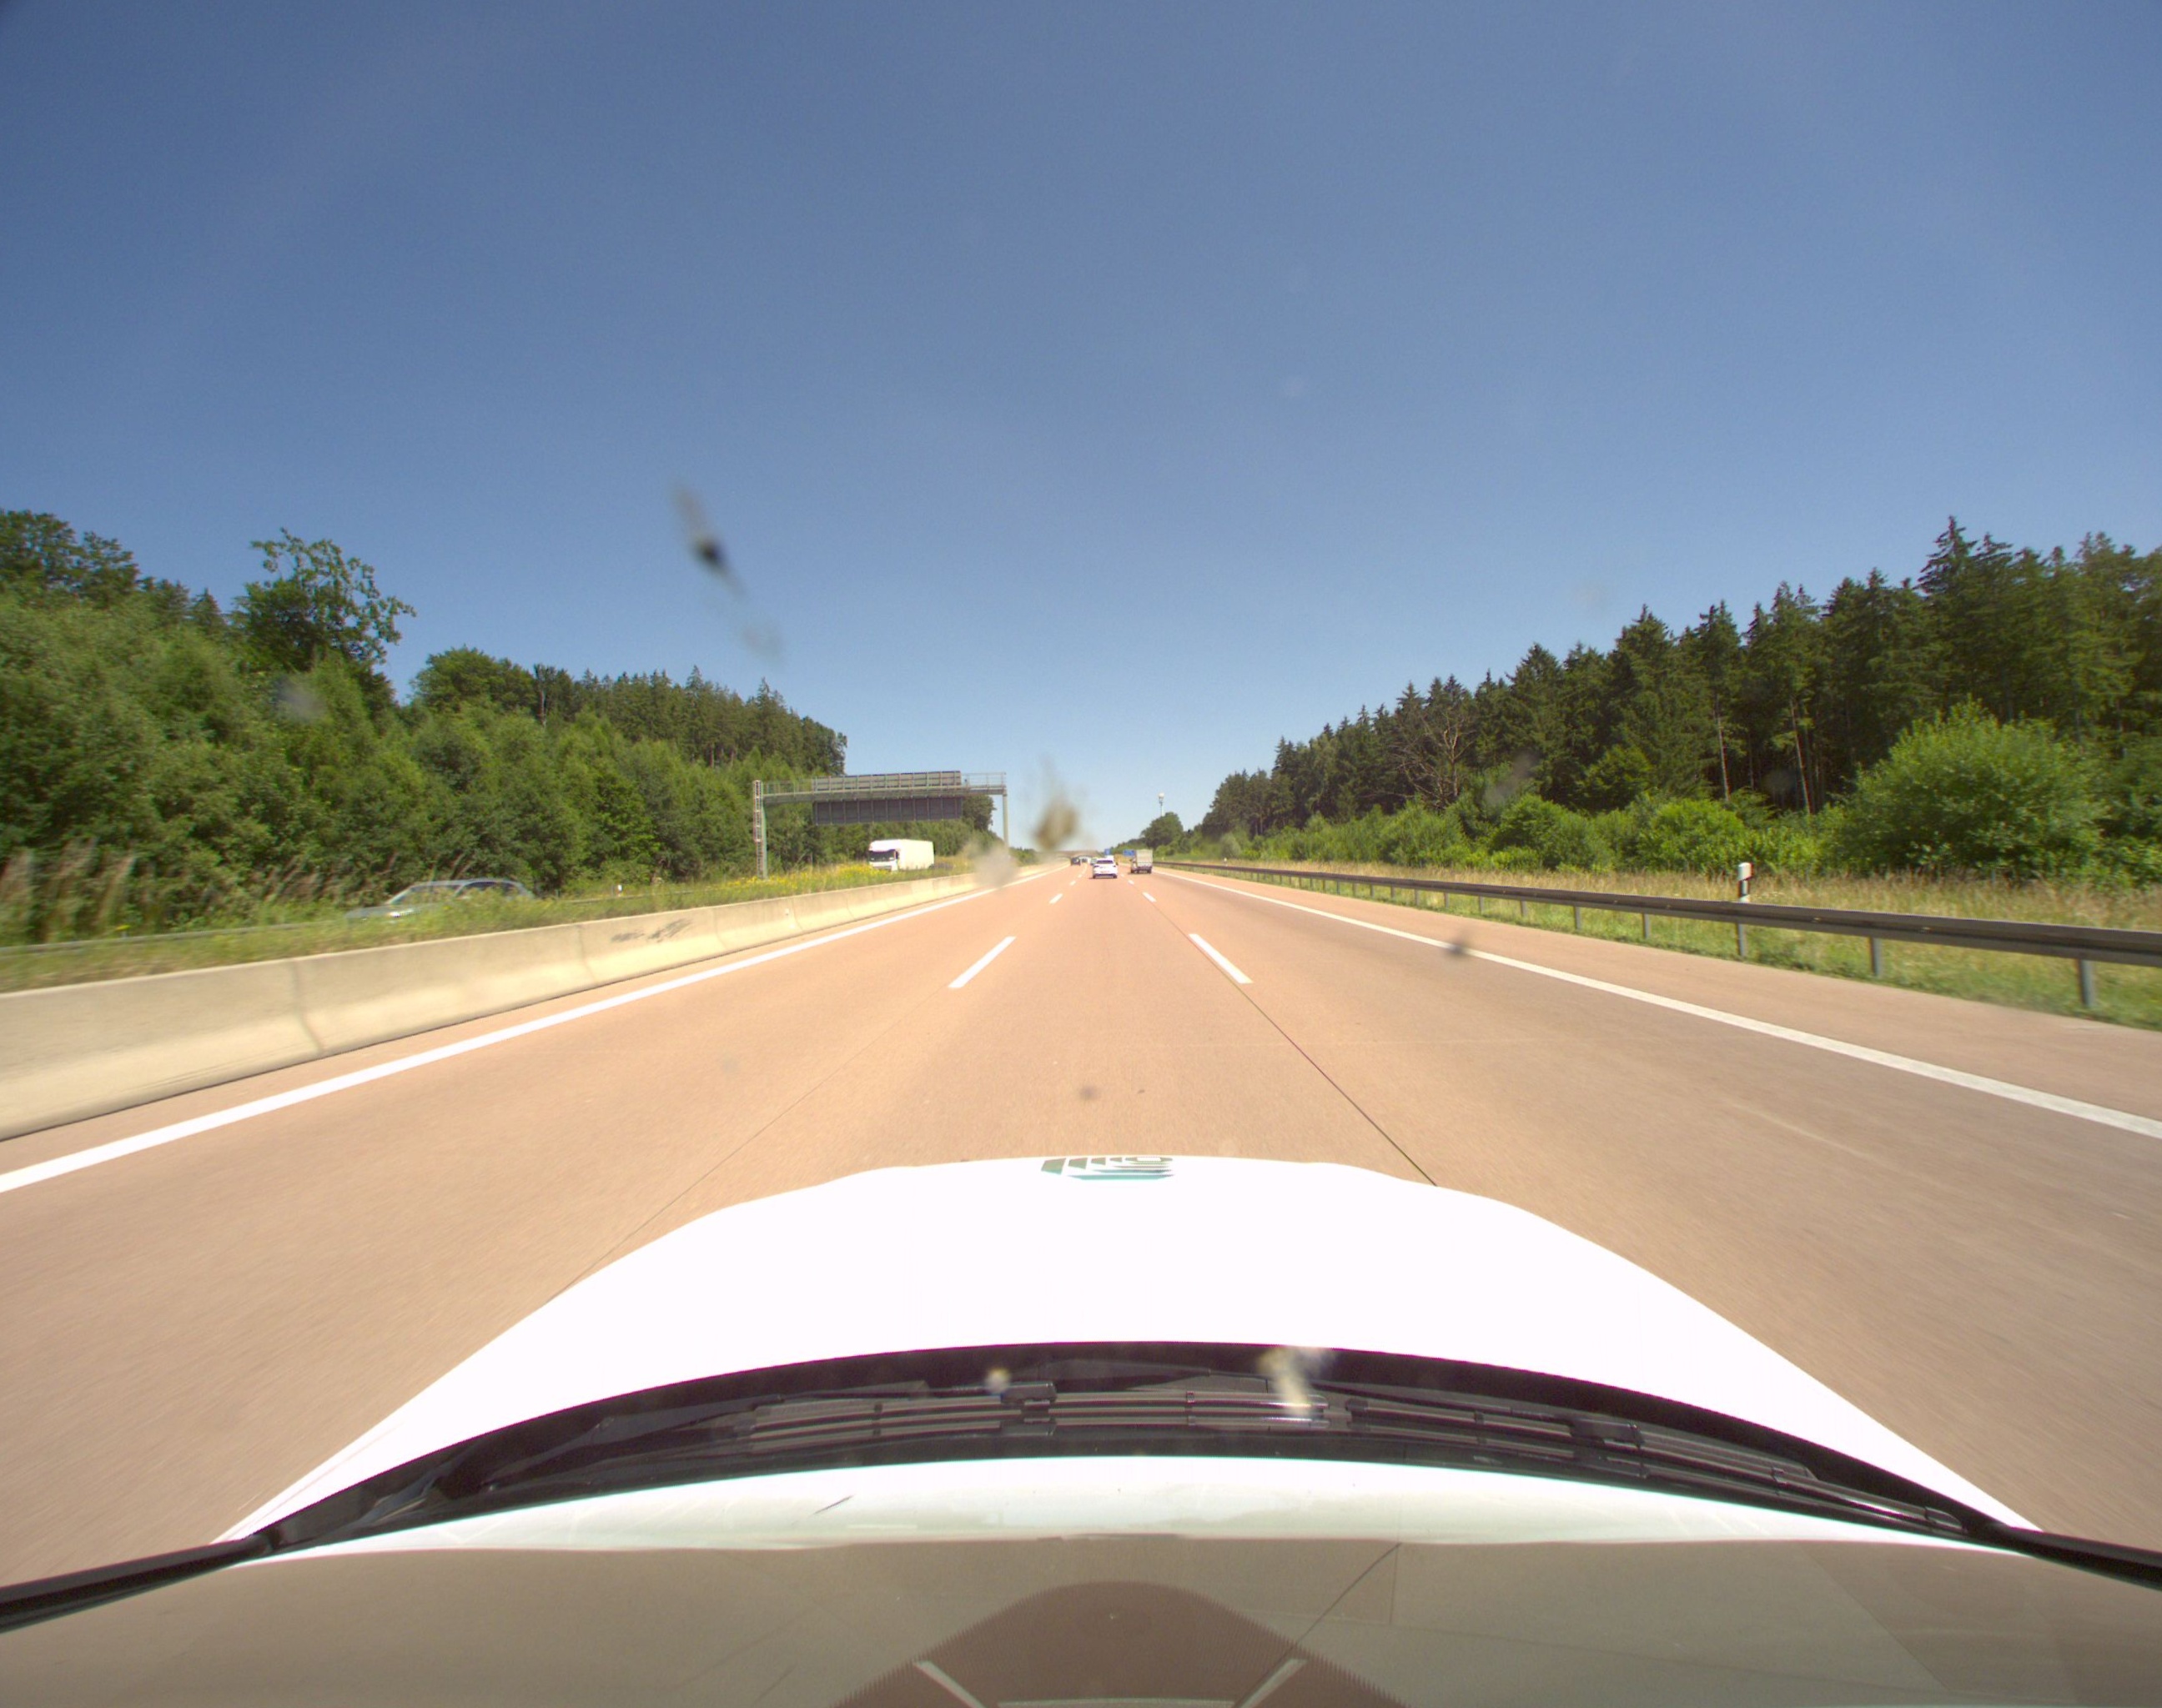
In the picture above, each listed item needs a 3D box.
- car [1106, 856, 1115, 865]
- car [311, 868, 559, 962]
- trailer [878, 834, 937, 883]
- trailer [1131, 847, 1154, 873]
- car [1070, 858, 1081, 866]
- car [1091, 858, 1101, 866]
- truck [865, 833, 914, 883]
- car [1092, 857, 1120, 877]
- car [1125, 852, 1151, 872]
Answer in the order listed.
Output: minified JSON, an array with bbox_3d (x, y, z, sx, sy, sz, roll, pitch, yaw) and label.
[{"bbox_3d":[6.763,1.539,185.278,2.102,2.054,4.002,-1,0,2],"label":"car"},{"bbox_3d":[-15.093,1.315,19.513,1.885,1.862,5.101,-1,0,-1],"label":"car"},{"bbox_3d":[-17.198,0.422,81.913,2.693,4.434,13.196,-1,0,2],"label":"trailer"},{"bbox_3d":[5.374,0.536,71.452,1.653,2.164,4.013,-1,-1,-1],"label":"trailer"},{"bbox_3d":[-1.031,1.567,157.121,1.883,1.463,4.002,-1,0,2],"label":"car"},{"bbox_3d":[2.893,1.512,159.304,1.884,1.463,4.000,-1,0,0],"label":"car"},{"bbox_3d":[-17.503,0.384,74.948,2.693,4.380,6.480,-1,0,2],"label":"truck"},{"bbox_3d":[1.811,0.932,58.403,1.883,1.398,4.002,0,-1,2],"label":"car"},{"bbox_3d":[5.287,0.731,75.986,1.886,1.728,5.182,-1,-1,-2],"label":"car"}]
